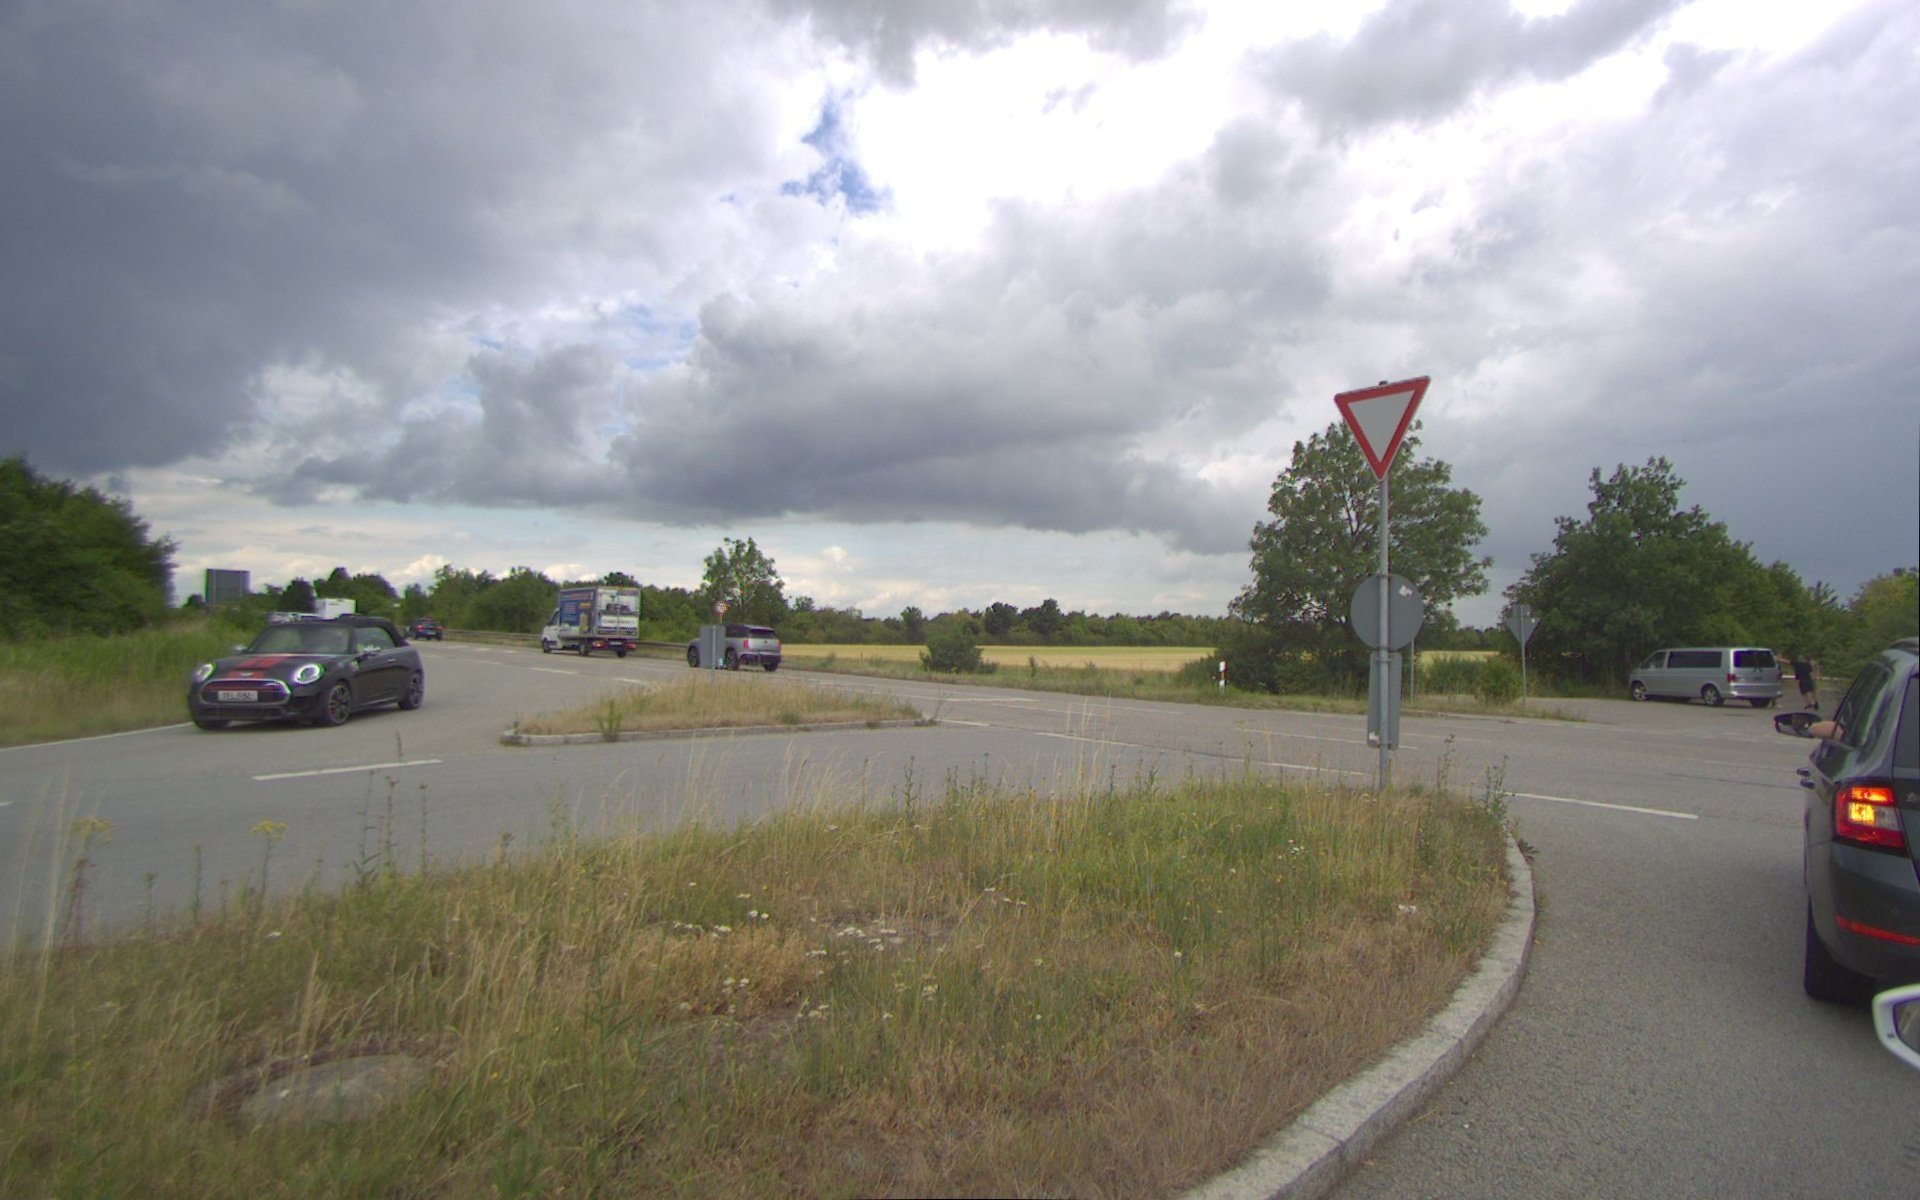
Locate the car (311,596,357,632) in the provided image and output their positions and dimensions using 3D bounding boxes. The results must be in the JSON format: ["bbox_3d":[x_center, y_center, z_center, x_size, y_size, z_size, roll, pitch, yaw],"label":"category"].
[{"bbox_3d":[-56.552,1.307,90.682,2.325,3.069,6.475,2,-3,-43],"label":"car"}]

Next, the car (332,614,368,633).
[{"bbox_3d":[-50.820,1.988,83.669,1.835,1.545,3.951,2,-3,-42],"label":"car"}]

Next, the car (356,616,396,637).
[{"bbox_3d":[-45.511,2.080,78.240,1.835,1.545,3.950,2,-3,-42],"label":"car"}]

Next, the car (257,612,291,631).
[{"bbox_3d":[-73.800,2.315,108.084,2.324,1.947,4.814,2,-3,-42],"label":"car"}]

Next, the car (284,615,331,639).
[{"bbox_3d":[-41.111,1.715,63.232,1.760,1.470,4.337,3,-3,-43],"label":"car"}]

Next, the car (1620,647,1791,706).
[{"bbox_3d":[25.946,2.618,35.241,2.072,1.910,5.101,0,-2,-2],"label":"car"}]

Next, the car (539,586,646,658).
[{"bbox_3d":[-17.437,1.082,47.399,2.325,3.068,6.476,6,-5,-42],"label":"car"}]

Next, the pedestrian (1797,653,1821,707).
[{"bbox_3d":[28.358,2.669,33.552,0.638,1.769,0.486,2,-2,-39],"label":"pedestrian"}]

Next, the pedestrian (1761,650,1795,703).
[{"bbox_3d":[27.471,2.547,33.734,0.726,1.745,0.696,2,-2,-36],"label":"pedestrian"}]

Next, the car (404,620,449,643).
[{"bbox_3d":[-37.023,2.185,69.673,1.835,1.545,3.951,2,-3,-42],"label":"car"}]

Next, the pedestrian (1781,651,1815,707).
[{"bbox_3d":[27.127,2.544,32.508,0.785,1.745,0.718,2,-2,-39],"label":"pedestrian"}]

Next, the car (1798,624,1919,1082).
[{"bbox_3d":[4.843,0.894,4.457,1.693,1.466,4.097,1,-1,40],"label":"car"}]

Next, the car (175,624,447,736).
[{"bbox_3d":[-9.160,1.045,14.629,1.643,1.370,4.165,0,-1,-7],"label":"car"}]

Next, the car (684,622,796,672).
[{"bbox_3d":[-7.995,1.678,36.323,1.987,1.644,4.206,6,-5,-44],"label":"car"}]
